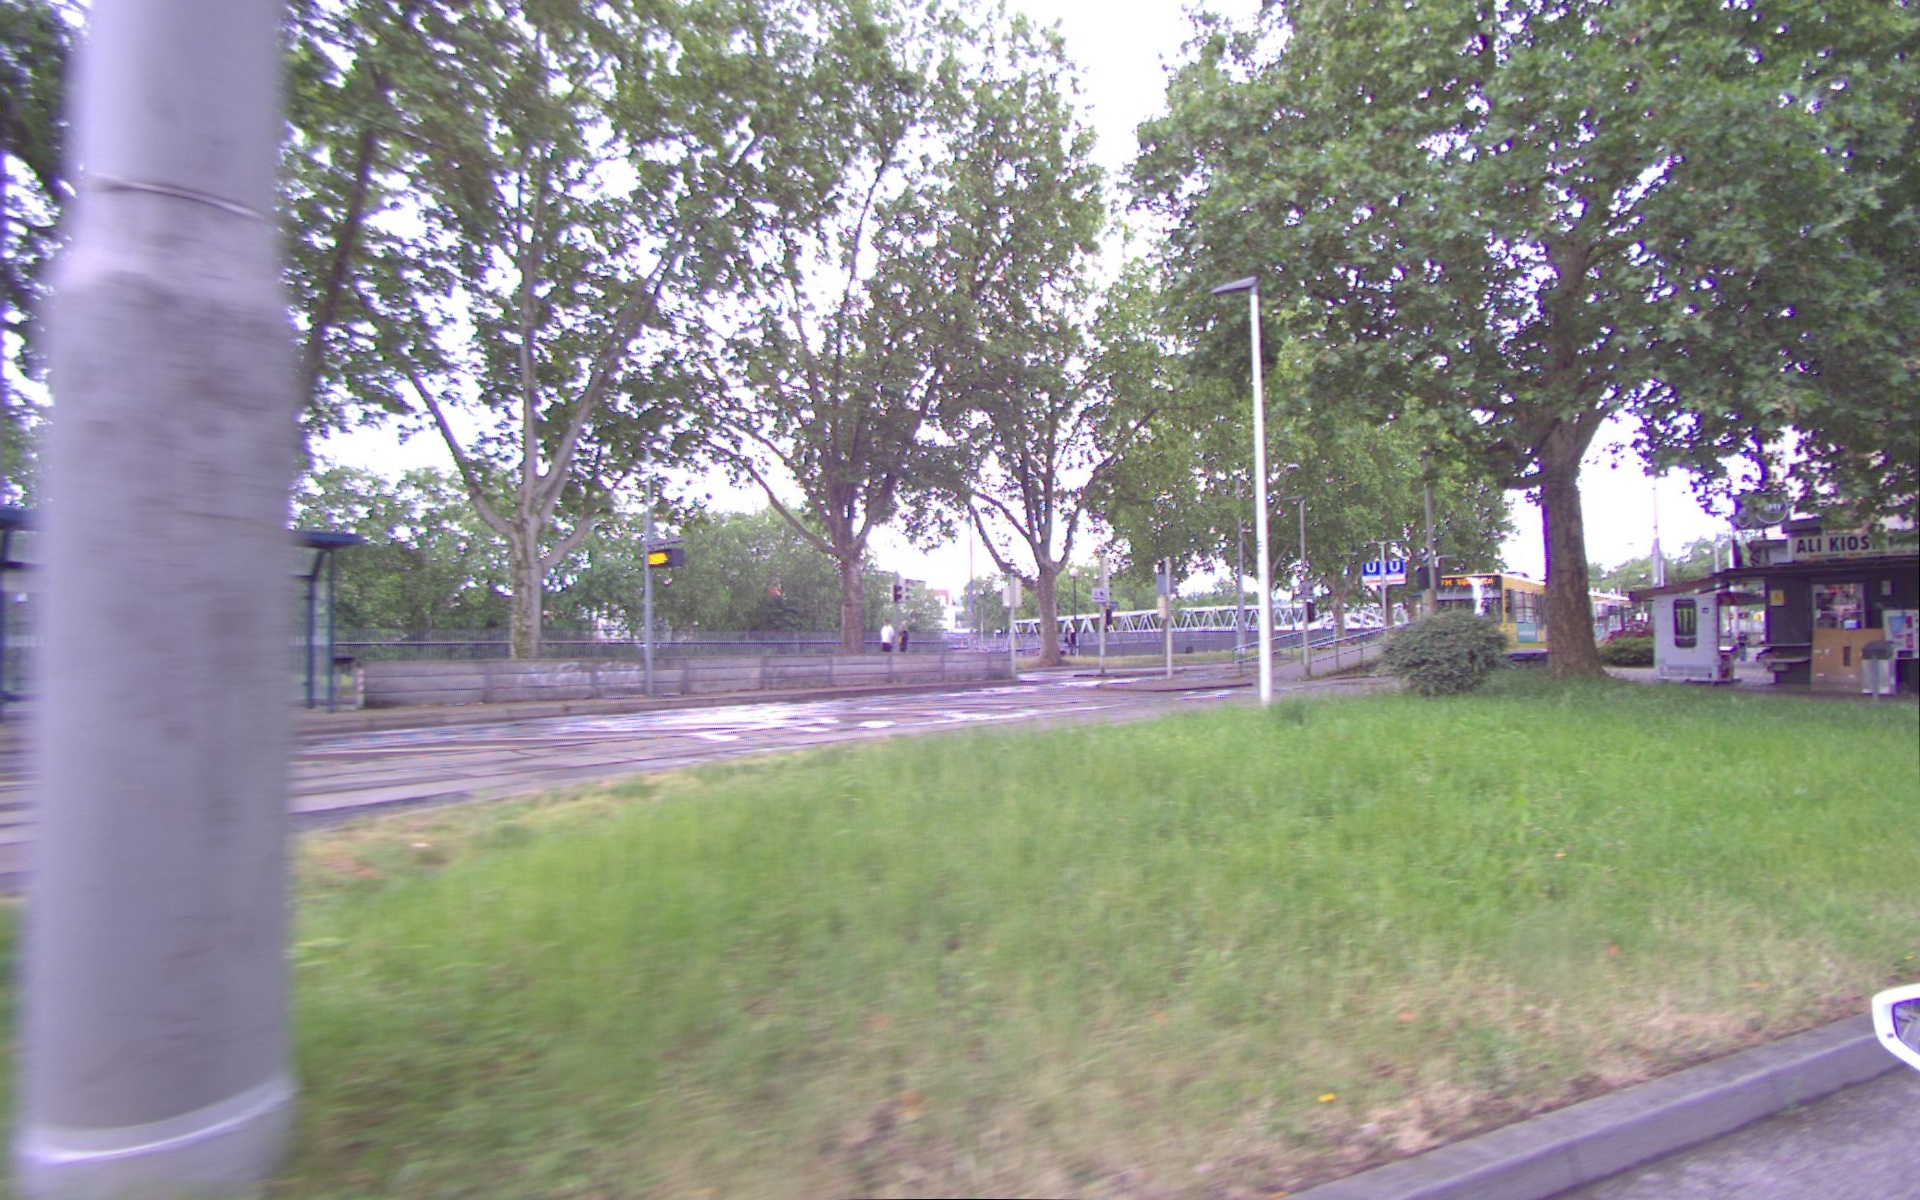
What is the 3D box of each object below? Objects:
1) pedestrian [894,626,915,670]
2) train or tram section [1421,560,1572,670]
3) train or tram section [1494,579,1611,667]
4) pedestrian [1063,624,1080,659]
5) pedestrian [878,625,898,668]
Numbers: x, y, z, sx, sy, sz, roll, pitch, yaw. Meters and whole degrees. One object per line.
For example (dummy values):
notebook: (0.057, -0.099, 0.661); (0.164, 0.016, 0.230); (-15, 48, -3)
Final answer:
pedestrian: (-2.134, 1.839, 38.722); (0.494, 1.644, 0.532); (2, -1, 39)
train or tram section: (21.253, 0.713, 39.322); (2.881, 3.720, 10.954); (2, -1, 40)
train or tram section: (28.306, 1.189, 47.688); (2.881, 3.720, 10.954); (2, -1, 40)
pedestrian: (5.511, 2.048, 49.654); (0.653, 1.644, 0.534); (2, -1, 18)
pedestrian: (-2.811, 1.801, 39.167); (0.494, 1.644, 0.532); (2, -1, 39)
